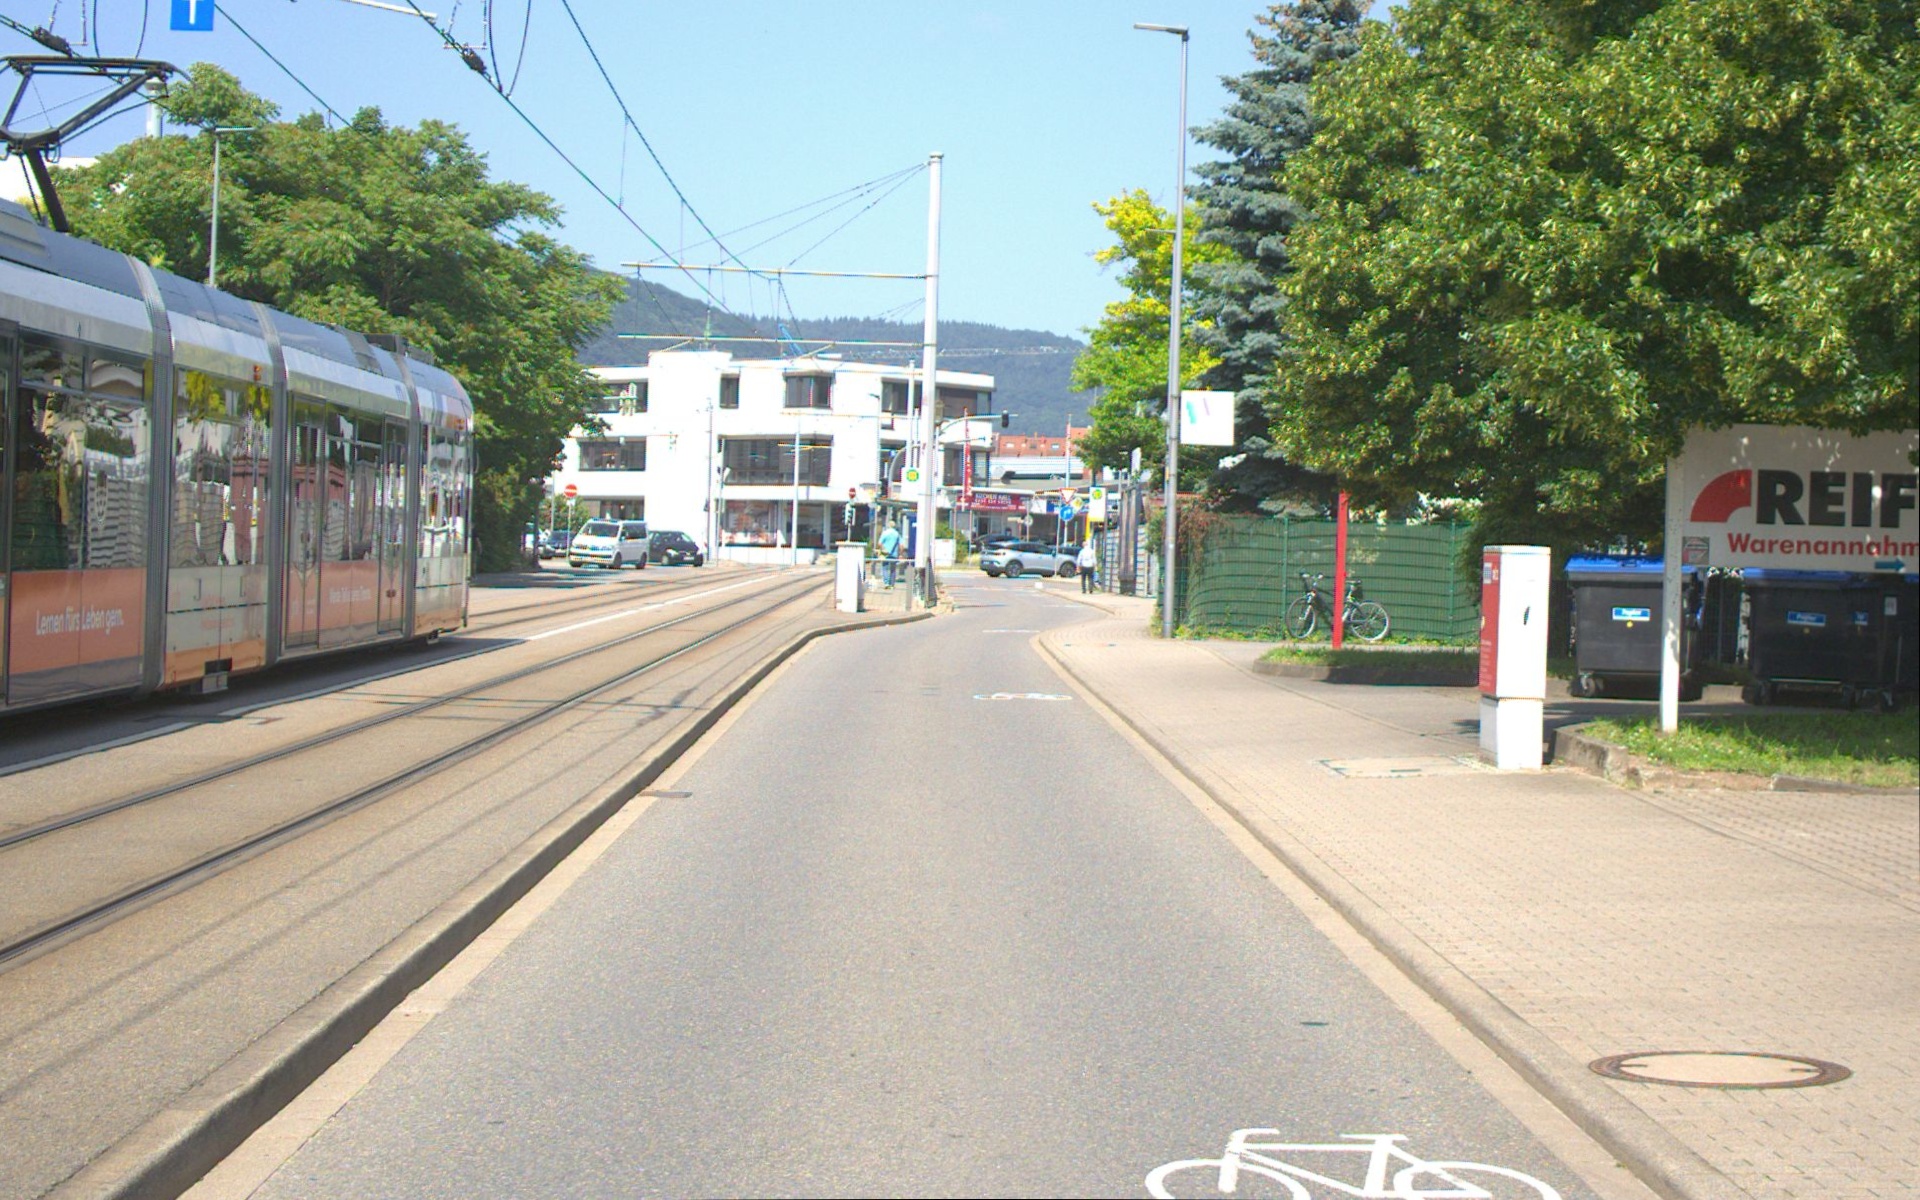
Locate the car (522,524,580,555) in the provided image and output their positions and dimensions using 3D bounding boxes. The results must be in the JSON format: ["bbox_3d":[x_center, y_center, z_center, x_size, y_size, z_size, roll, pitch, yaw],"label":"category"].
[{"bbox_3d":[-22.305,-3.311,187.311,1.926,1.642,3.762,1,1,-26],"label":"car"}]

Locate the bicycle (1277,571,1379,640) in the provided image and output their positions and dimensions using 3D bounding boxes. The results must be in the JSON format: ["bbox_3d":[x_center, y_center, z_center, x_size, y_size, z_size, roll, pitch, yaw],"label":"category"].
[{"bbox_3d":[5.520,0.086,51.576,1.471,0.987,0.388,2,-2,-1],"label":"bicycle"}]

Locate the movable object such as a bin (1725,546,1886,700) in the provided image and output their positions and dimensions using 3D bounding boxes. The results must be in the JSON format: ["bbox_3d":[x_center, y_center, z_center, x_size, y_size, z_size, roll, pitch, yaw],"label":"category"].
[{"bbox_3d":[8.189,0.228,33.295,1.318,1.425,0.883,2,-1,25],"label":"movable object such as a bin"}]

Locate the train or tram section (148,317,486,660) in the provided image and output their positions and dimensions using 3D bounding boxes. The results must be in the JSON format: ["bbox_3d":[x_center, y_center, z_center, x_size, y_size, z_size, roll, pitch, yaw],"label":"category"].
[{"bbox_3d":[-6.999,-1.188,38.253,2.580,3.435,6.363,2,1,-1],"label":"train or tram section"}]

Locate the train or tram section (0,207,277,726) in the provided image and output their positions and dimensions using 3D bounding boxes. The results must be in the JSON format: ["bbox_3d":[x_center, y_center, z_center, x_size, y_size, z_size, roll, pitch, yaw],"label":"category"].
[{"bbox_3d":[-6.857,-0.951,25.404,2.611,3.435,5.011,2,1,-1],"label":"train or tram section"}]

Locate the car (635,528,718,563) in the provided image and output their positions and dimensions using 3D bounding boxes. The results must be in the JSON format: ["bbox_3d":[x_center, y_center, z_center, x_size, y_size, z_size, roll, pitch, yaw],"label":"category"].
[{"bbox_3d":[-12.600,-2.427,152.712,3.535,1.329,1.674,5,3,42],"label":"car"}]

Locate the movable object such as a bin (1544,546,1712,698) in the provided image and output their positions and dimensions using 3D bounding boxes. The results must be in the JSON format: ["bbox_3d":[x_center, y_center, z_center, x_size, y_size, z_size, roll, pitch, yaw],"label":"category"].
[{"bbox_3d":[6.583,0.219,33.854,1.386,1.425,0.989,2,-1,25],"label":"movable object such as a bin"}]

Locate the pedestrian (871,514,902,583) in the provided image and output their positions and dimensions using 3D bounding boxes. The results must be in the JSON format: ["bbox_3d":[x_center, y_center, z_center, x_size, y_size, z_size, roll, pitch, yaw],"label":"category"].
[{"bbox_3d":[-1.851,-1.297,86.558,0.743,1.734,0.727,1,1,-1],"label":"pedestrian"}]

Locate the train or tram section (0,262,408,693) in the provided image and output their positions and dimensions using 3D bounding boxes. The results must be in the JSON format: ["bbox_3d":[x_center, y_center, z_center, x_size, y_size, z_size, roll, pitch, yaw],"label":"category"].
[{"bbox_3d":[-6.905,-1.055,31.486,2.580,3.435,7.137,2,1,-1],"label":"train or tram section"}]

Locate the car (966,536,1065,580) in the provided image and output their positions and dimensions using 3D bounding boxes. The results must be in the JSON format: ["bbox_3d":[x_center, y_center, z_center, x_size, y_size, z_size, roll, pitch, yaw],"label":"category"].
[{"bbox_3d":[2.411,-1.845,150.125,3.986,1.744,1.776,2,1,-10],"label":"car"}]

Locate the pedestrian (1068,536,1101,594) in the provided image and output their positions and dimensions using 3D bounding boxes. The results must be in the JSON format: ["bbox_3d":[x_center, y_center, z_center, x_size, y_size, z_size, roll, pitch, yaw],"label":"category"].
[{"bbox_3d":[3.958,-1.104,109.521,0.940,1.781,0.953,2,2,-1],"label":"pedestrian"}]

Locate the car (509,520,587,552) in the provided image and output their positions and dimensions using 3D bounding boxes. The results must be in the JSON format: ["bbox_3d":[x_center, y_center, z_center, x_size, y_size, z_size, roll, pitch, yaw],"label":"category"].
[{"bbox_3d":[-20.369,-3.168,169.913,1.787,1.546,3.998,0,1,-43],"label":"car"}]

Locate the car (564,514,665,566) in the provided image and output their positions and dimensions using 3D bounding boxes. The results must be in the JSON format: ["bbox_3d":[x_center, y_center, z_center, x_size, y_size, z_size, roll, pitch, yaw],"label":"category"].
[{"bbox_3d":[-13.851,-2.402,137.992,1.863,1.930,3.993,5,2,32],"label":"car"}]

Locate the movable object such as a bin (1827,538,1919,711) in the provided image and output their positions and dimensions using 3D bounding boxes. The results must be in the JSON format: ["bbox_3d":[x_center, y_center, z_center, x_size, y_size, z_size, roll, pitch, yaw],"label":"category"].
[{"bbox_3d":[8.710,0.242,31.681,0.978,1.541,1.321,3,-1,-4],"label":"movable object such as a bin"}]

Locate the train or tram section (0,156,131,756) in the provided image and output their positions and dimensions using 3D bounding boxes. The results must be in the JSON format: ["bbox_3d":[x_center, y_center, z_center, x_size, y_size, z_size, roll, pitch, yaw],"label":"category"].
[{"bbox_3d":[-6.819,-0.852,19.957,2.611,3.435,5.844,2,1,-1],"label":"train or tram section"}]

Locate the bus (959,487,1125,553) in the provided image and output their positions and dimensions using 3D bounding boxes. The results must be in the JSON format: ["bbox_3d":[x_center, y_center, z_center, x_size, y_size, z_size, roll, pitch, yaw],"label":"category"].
[{"bbox_3d":[3.858,-3.817,163.337,2.437,2.870,8.789,1,1,-42],"label":"bus"}]
